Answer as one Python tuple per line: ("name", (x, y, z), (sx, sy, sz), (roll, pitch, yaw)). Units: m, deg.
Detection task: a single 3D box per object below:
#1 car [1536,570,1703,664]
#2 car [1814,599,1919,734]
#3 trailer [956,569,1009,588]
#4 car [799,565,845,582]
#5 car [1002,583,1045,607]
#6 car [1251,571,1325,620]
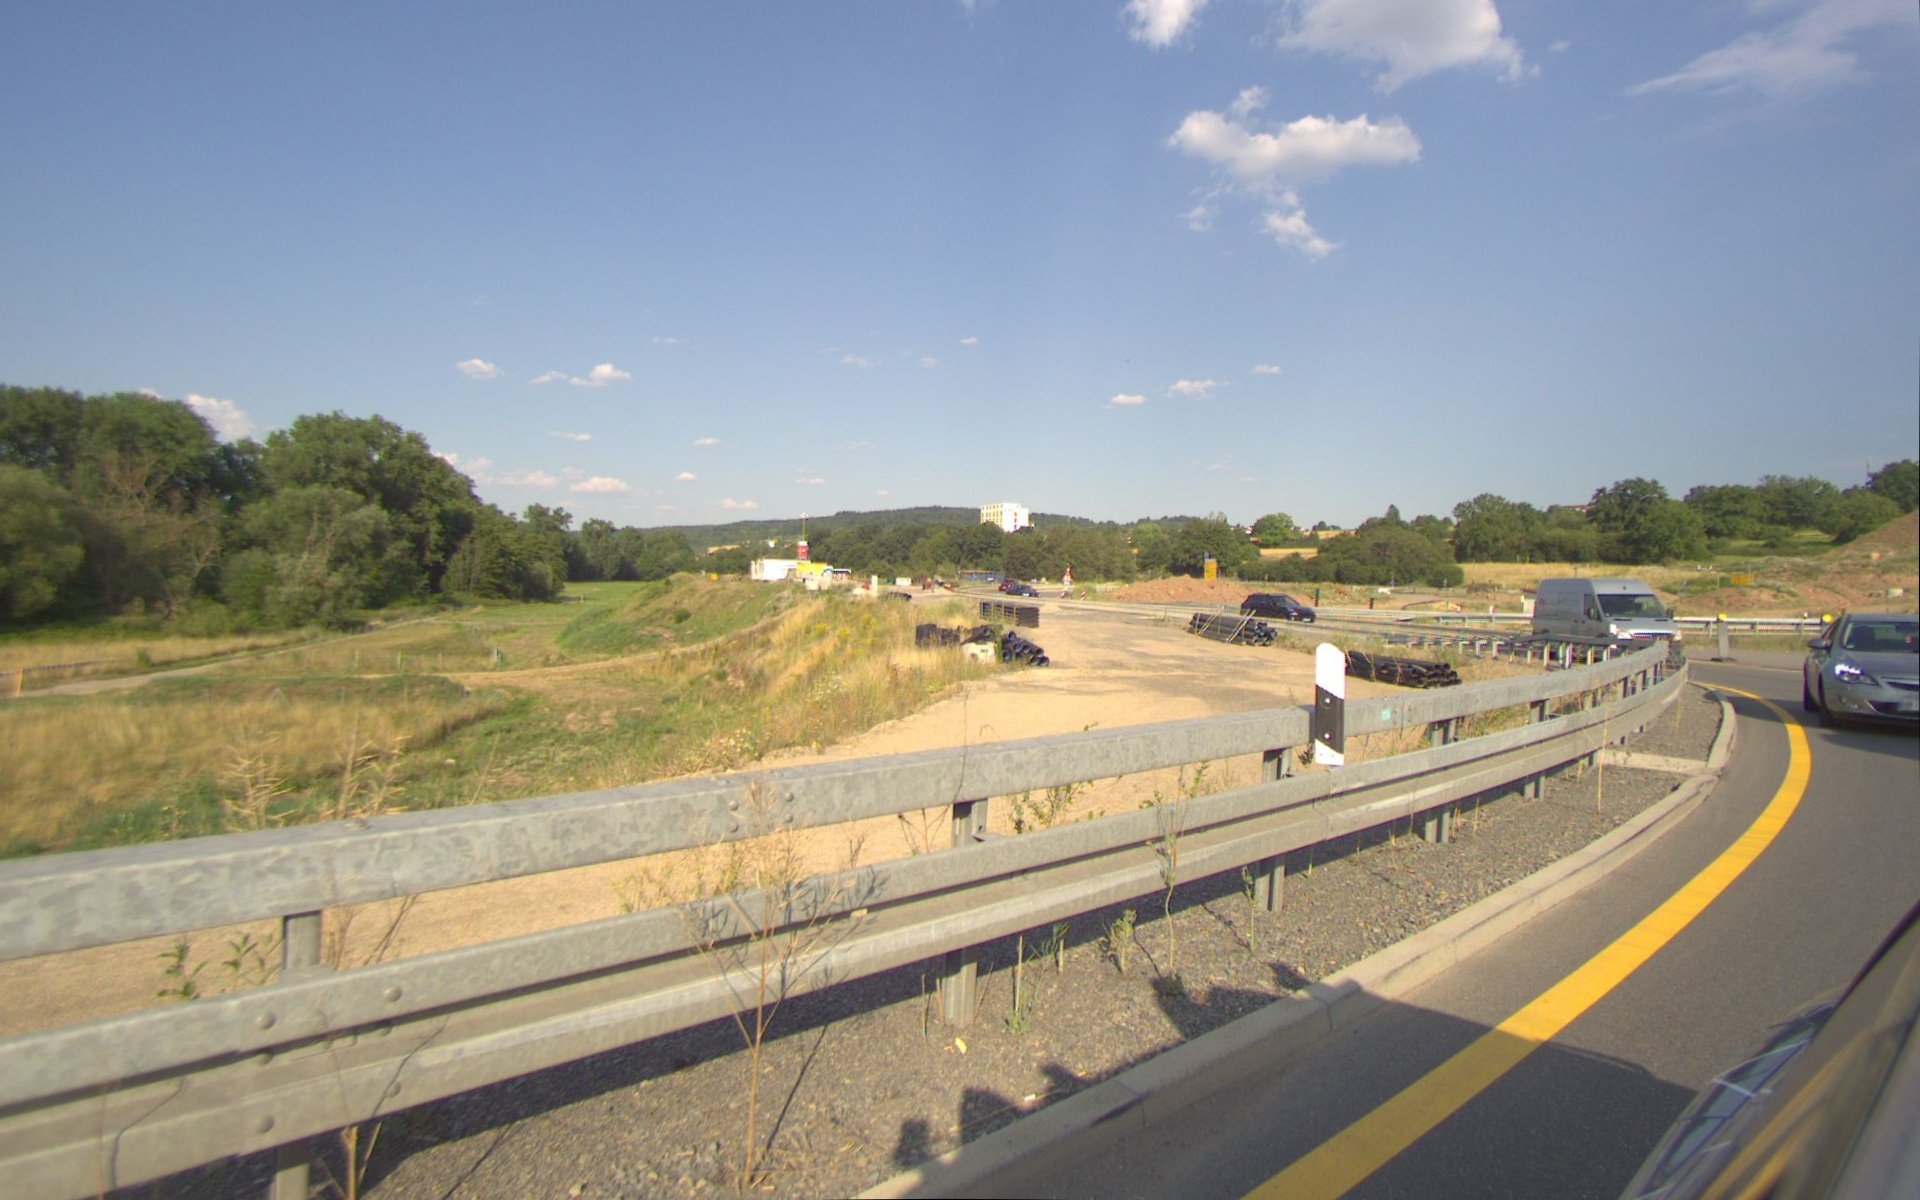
("car", (20.211, 0.380, 31.392), (1.885, 2.531, 5.788), (2, 2, 7))
("car", (12.392, 0.761, 13.167), (1.739, 1.503, 4.194), (0, 0, 37))
("trailer", (2.926, -2.762, 129.904), (3.002, 2.444, 7.120), (2, 2, 42))
("car", (-17.776, -3.395, 130.422), (5.211, 2.104, 2.492), (0, 3, -27))
("car", (5.107, -0.427, 81.813), (1.603, 1.808, 4.136), (0, 3, -25))
("car", (17.735, -0.283, 54.962), (1.837, 2.432, 4.010), (1, 2, -16))
